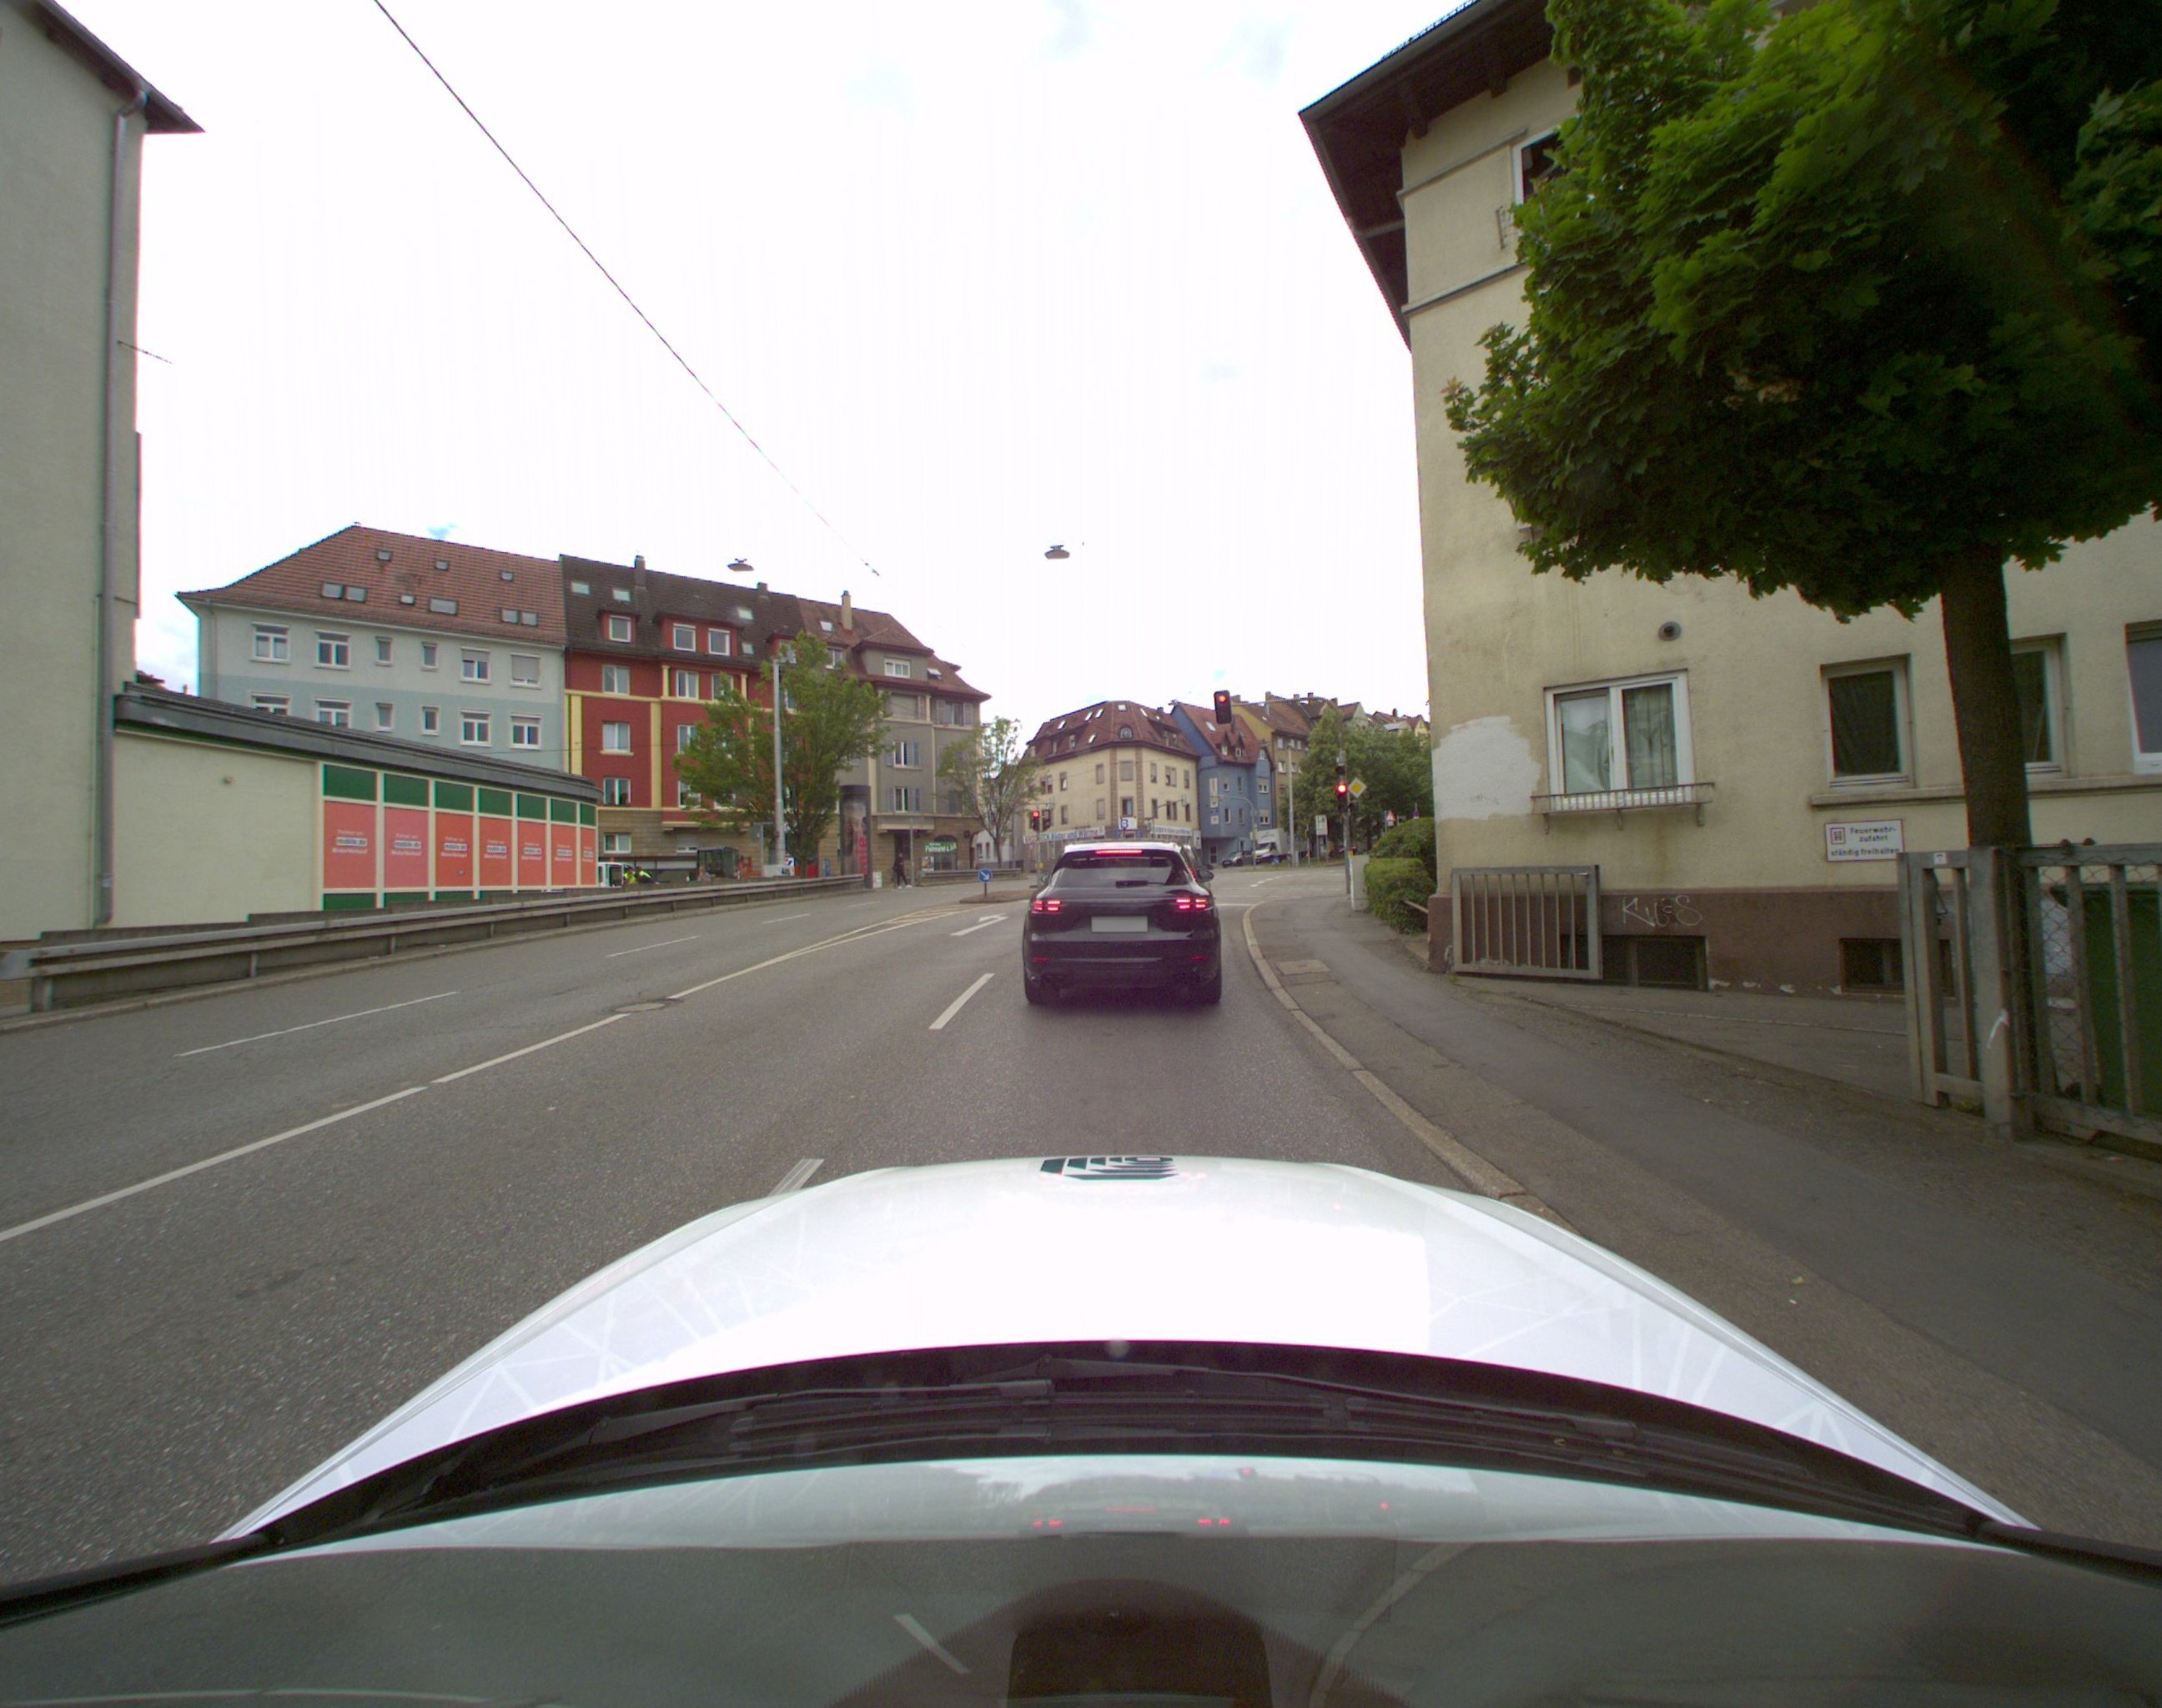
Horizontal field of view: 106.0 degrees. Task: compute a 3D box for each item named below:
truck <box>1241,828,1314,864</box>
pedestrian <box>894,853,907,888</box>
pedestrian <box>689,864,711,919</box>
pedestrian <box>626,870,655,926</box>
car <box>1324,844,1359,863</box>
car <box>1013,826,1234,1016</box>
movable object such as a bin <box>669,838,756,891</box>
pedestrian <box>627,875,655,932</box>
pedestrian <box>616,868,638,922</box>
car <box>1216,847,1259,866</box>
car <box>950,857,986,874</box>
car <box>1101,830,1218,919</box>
[{"bbox_3d":[19.585,-0.773,80.773,2.847,3.340,8.845,0,0,45],"label":"truck"},{"bbox_3d":[-8.981,0.806,40.457,0.511,1.730,0.451,1,-1,4],"label":"pedestrian"},{"bbox_3d":[-12.221,1.181,26.090,0.545,1.730,0.587,1,-1,-32],"label":"pedestrian"},{"bbox_3d":[-14.040,1.391,25.972,0.565,1.761,0.622,0,-1,37],"label":"pedestrian"},{"bbox_3d":[28.774,-0.072,89.845,4.023,2.014,1.975,1,-1,-44],"label":"car"},{"bbox_3d":[0.379,0.587,9.394,1.972,1.684,3.999,-1,1,0],"label":"car"},{"bbox_3d":[-13.043,0.358,29.056,1.903,1.771,3.985,1,0,-11],"label":"movable object such as a bin"},{"bbox_3d":[-13.349,1.484,24.737,0.562,1.699,0.542,1,-1,-9],"label":"pedestrian"},{"bbox_3d":[-14.849,1.316,26.622,0.479,1.730,0.537,1,-1,-44],"label":"pedestrian"},{"bbox_3d":[14.288,0.217,74.191,1.974,1.684,4.025,-2,0,42],"label":"car"},{"bbox_3d":[-11.361,1.151,81.745,2.008,1.684,3.958,0,-1,-34],"label":"car"},{"bbox_3d":[1.828,0.413,17.717,1.980,1.684,4.014,-1,0,13],"label":"car"}]
